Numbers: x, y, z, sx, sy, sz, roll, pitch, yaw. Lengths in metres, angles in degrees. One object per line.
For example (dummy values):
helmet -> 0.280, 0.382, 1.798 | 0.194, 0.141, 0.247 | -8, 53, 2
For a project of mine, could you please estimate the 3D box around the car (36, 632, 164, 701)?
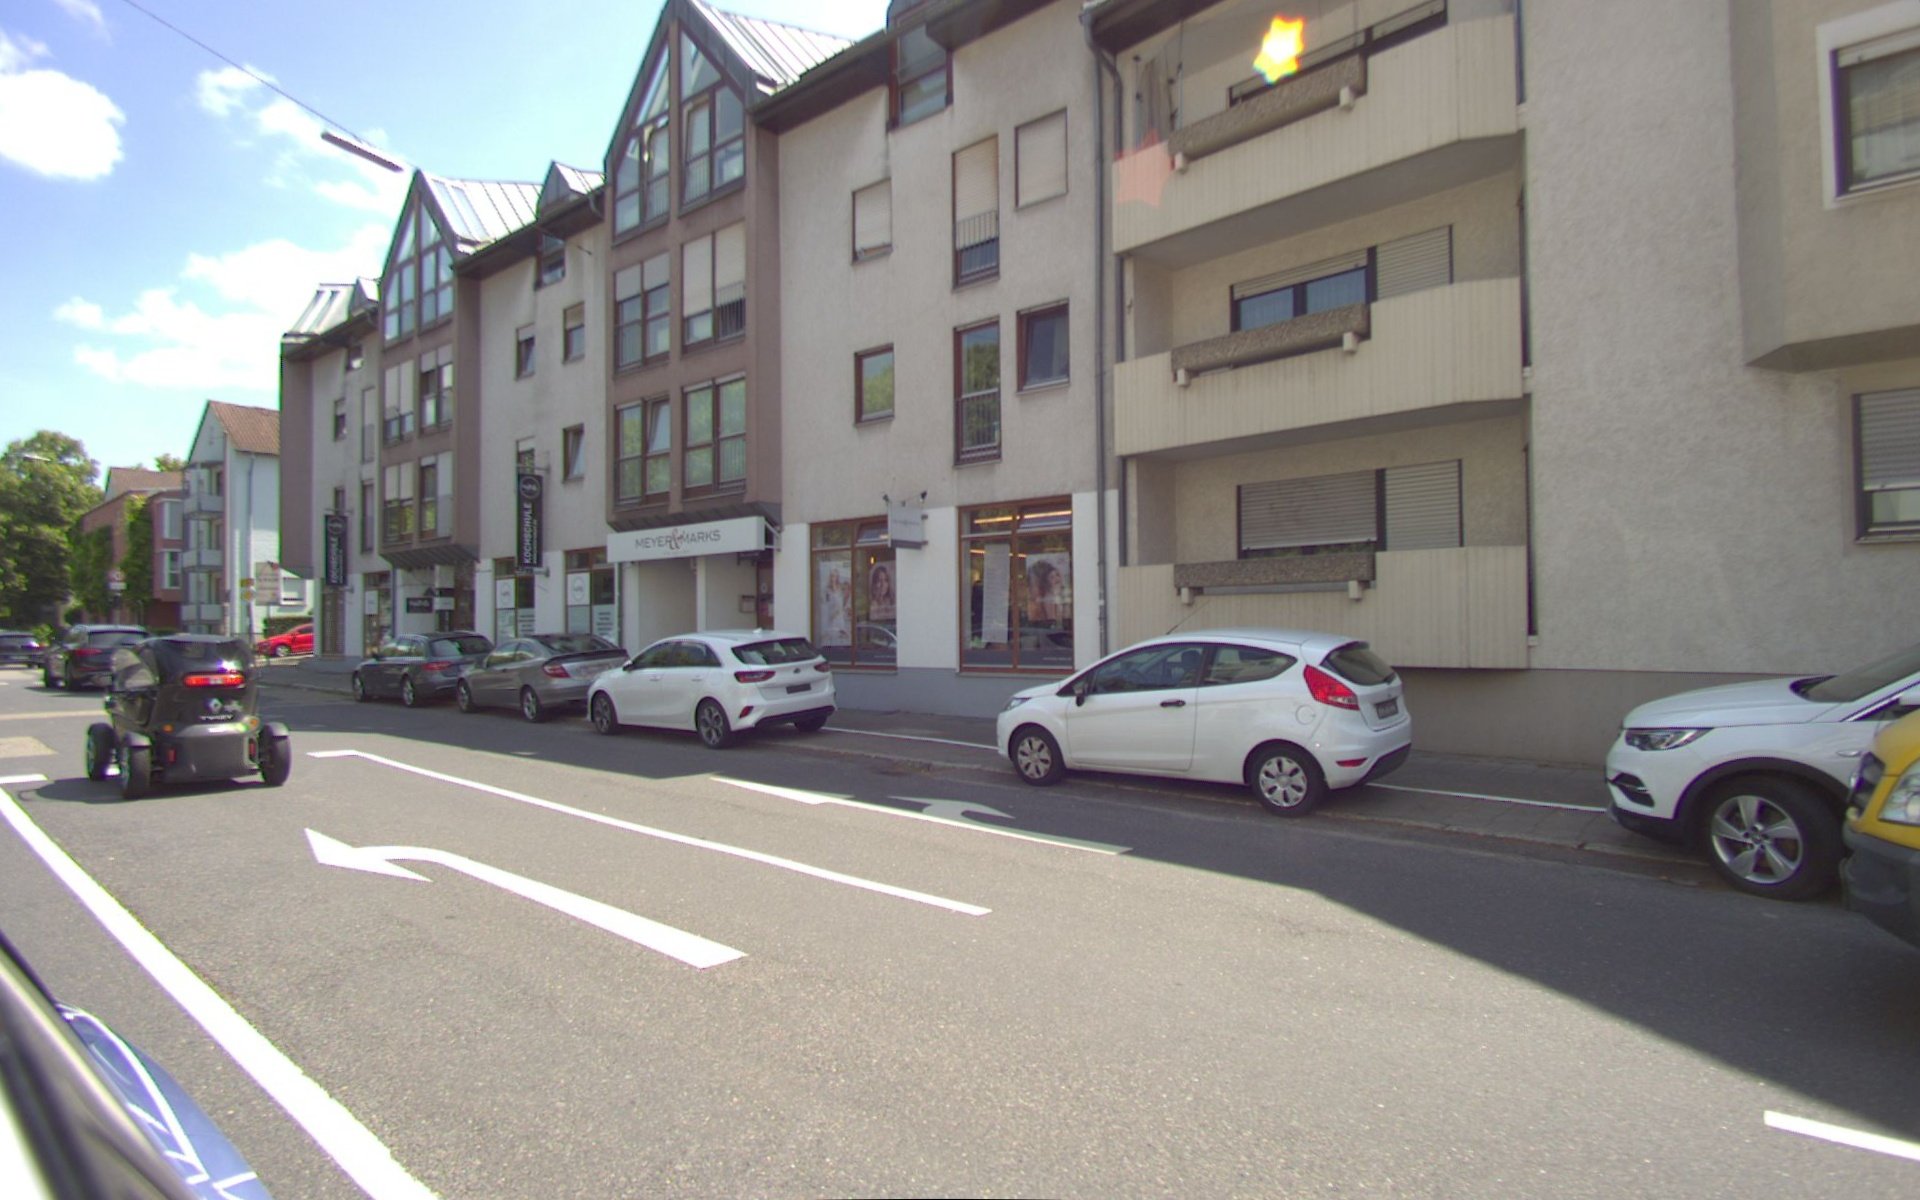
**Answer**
car -> -22.383, 1.712, 26.287 | 4.438, 1.633, 1.793 | -3, -4, 40

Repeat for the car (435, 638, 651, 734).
car -> -7.482, 1.425, 17.945 | 4.325, 1.394, 1.820 | -2, 0, 42

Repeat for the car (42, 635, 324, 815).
car -> -7.541, 1.085, 9.788 | 2.718, 1.470, 1.483 | -2, -2, 37

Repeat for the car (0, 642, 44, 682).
car -> -36.672, 2.354, 38.830 | 4.221, 1.430, 1.724 | -2, -4, 41

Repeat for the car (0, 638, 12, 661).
car -> -65.250, 3.323, 68.055 | 3.996, 1.519, 1.730 | -2, -1, 40

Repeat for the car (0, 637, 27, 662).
car -> -60.591, 3.114, 63.866 | 4.564, 1.551, 1.867 | -2, -3, 40

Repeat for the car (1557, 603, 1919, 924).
car -> 5.961, 0.832, 5.518 | 4.384, 1.607, 1.821 | -2, 0, 41

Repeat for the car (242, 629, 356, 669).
car -> -29.897, 2.206, 45.868 | 1.731, 1.462, 3.948 | -4, 0, 39

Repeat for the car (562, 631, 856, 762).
car -> -3.659, 1.230, 14.330 | 4.383, 1.500, 1.821 | -2, 0, 41

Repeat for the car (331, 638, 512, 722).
car -> -11.450, 1.596, 21.356 | 4.968, 1.458, 1.820 | -2, 0, 43

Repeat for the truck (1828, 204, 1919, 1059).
truck -> 6.493, 0.040, 1.660 | 7.564, 2.792, 2.201 | -2, -4, 43

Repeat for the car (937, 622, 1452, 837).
car -> 2.022, 1.012, 9.557 | 4.384, 1.500, 1.821 | -2, 0, 41
